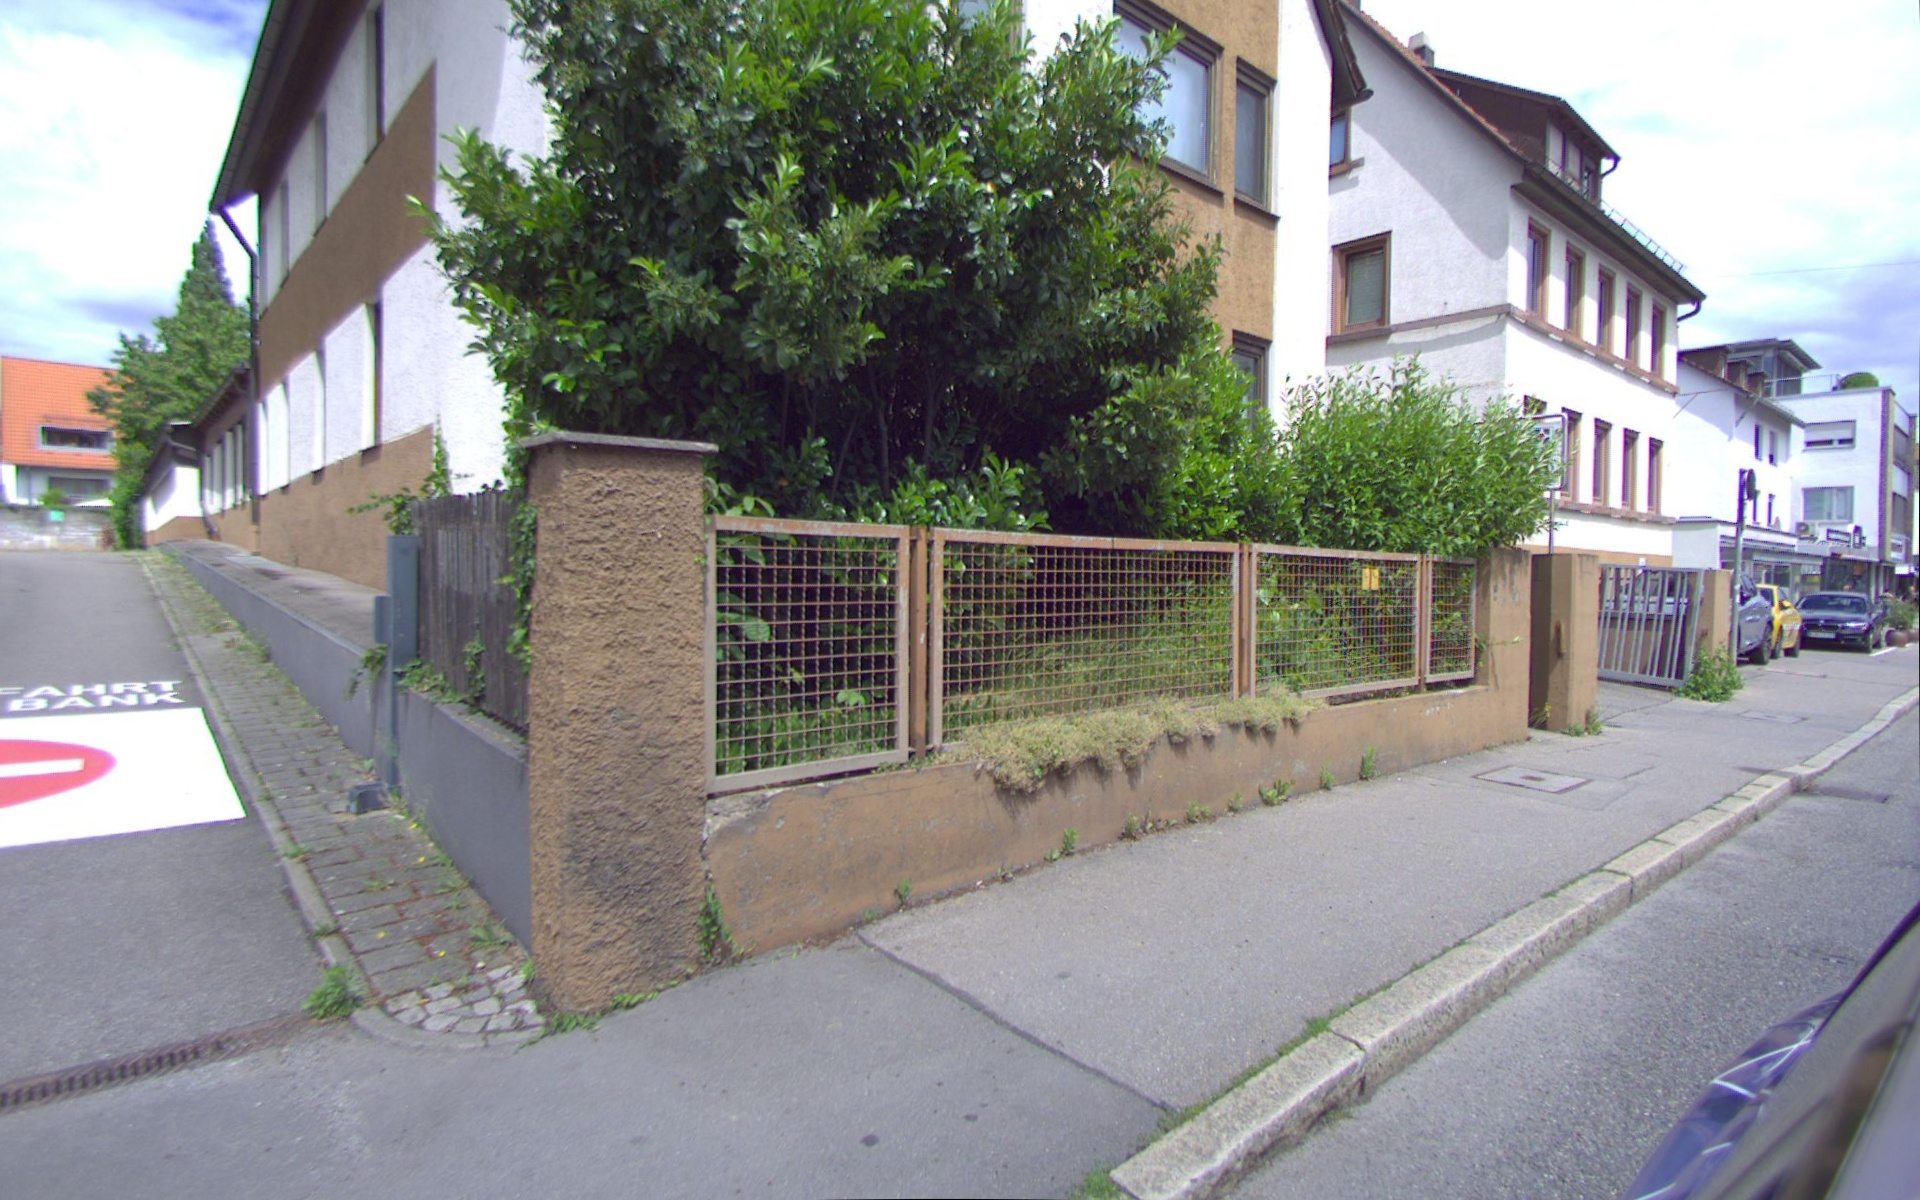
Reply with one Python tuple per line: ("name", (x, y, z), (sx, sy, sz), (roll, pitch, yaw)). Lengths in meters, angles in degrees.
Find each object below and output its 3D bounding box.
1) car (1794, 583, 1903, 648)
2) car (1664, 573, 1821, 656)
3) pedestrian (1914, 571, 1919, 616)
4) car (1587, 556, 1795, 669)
("car", (22.197, 0.333, 25.230), (3.933, 1.438, 1.654), (-1, 3, -43))
("car", (15.668, 0.225, 20.192), (3.934, 1.429, 1.922), (-1, 3, -44))
("pedestrian", (43.498, -0.288, 45.679), (0.902, 2.046, 0.476), (0, 2, -40))
("car", (12.268, 0.133, 16.896), (4.030, 1.639, 1.997), (0, 2, -42))
